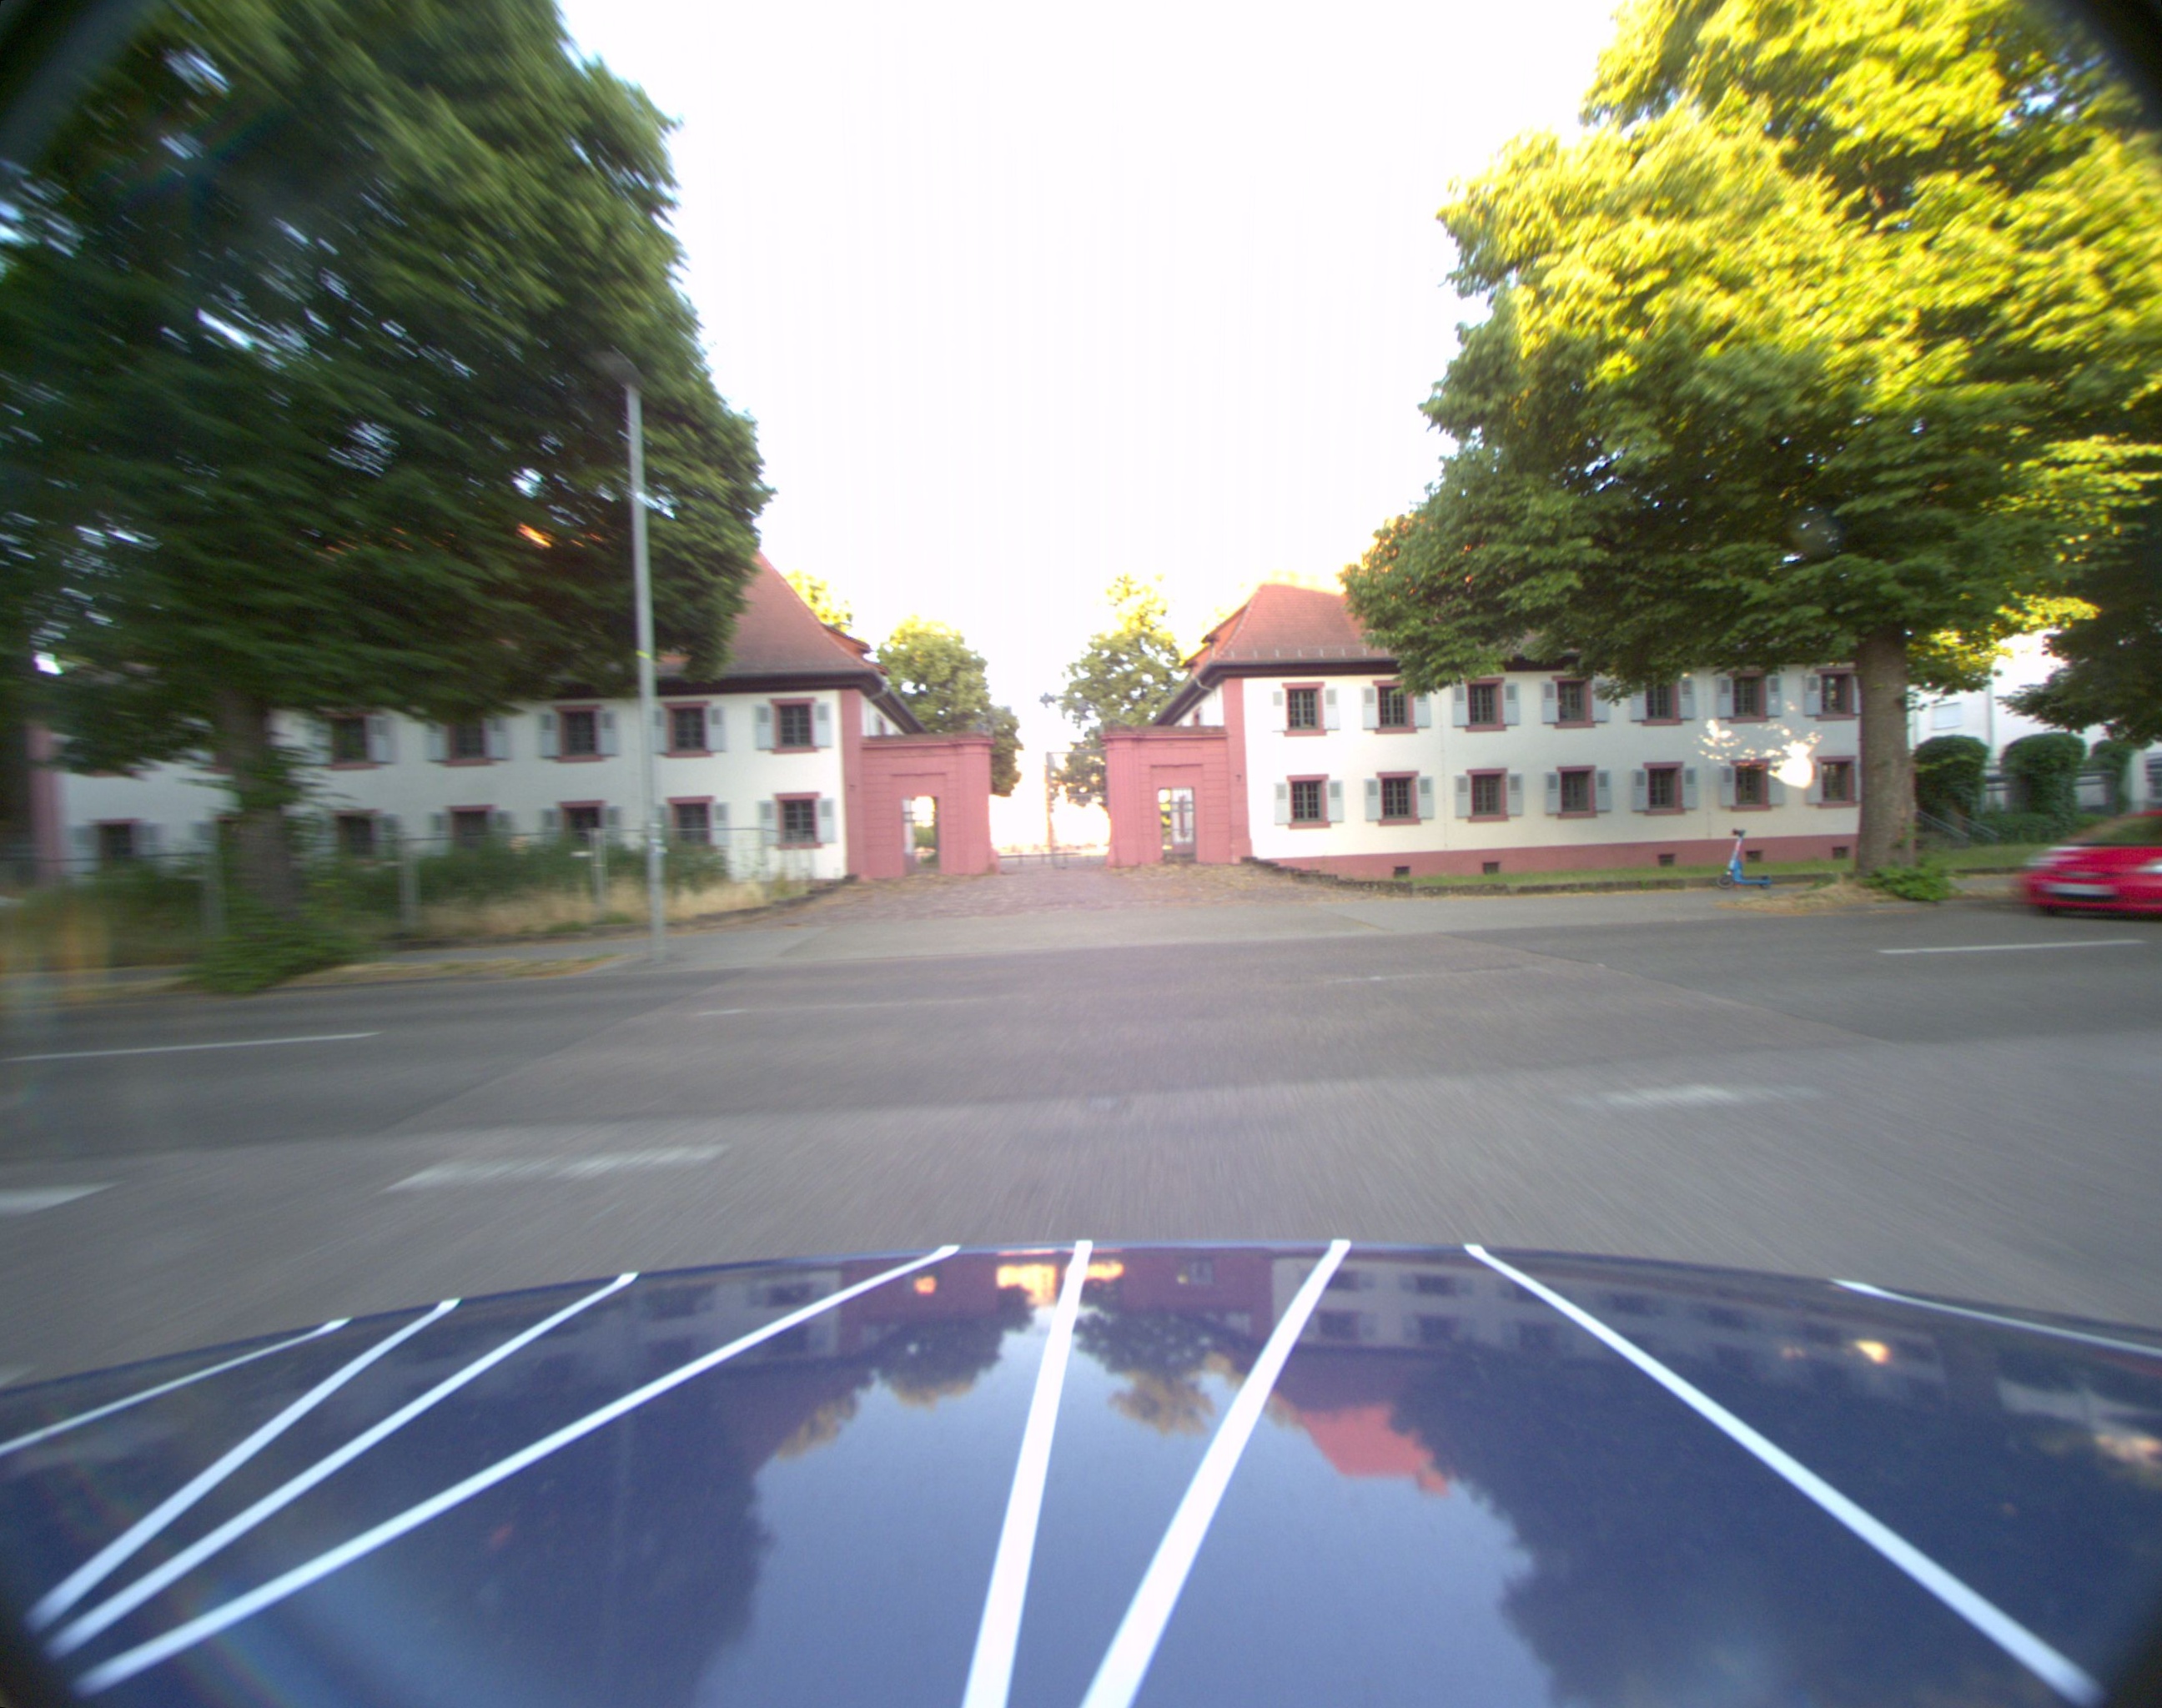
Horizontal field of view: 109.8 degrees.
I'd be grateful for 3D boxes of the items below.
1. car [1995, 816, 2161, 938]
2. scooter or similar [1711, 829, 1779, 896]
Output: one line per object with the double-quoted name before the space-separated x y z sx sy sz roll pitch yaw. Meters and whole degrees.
"car" 15.010 0.184 9.979 4.409 1.404 1.619 -3 0 -5
"scooter or similar" 13.271 0.160 15.184 1.267 1.269 0.239 -3 2 -9
